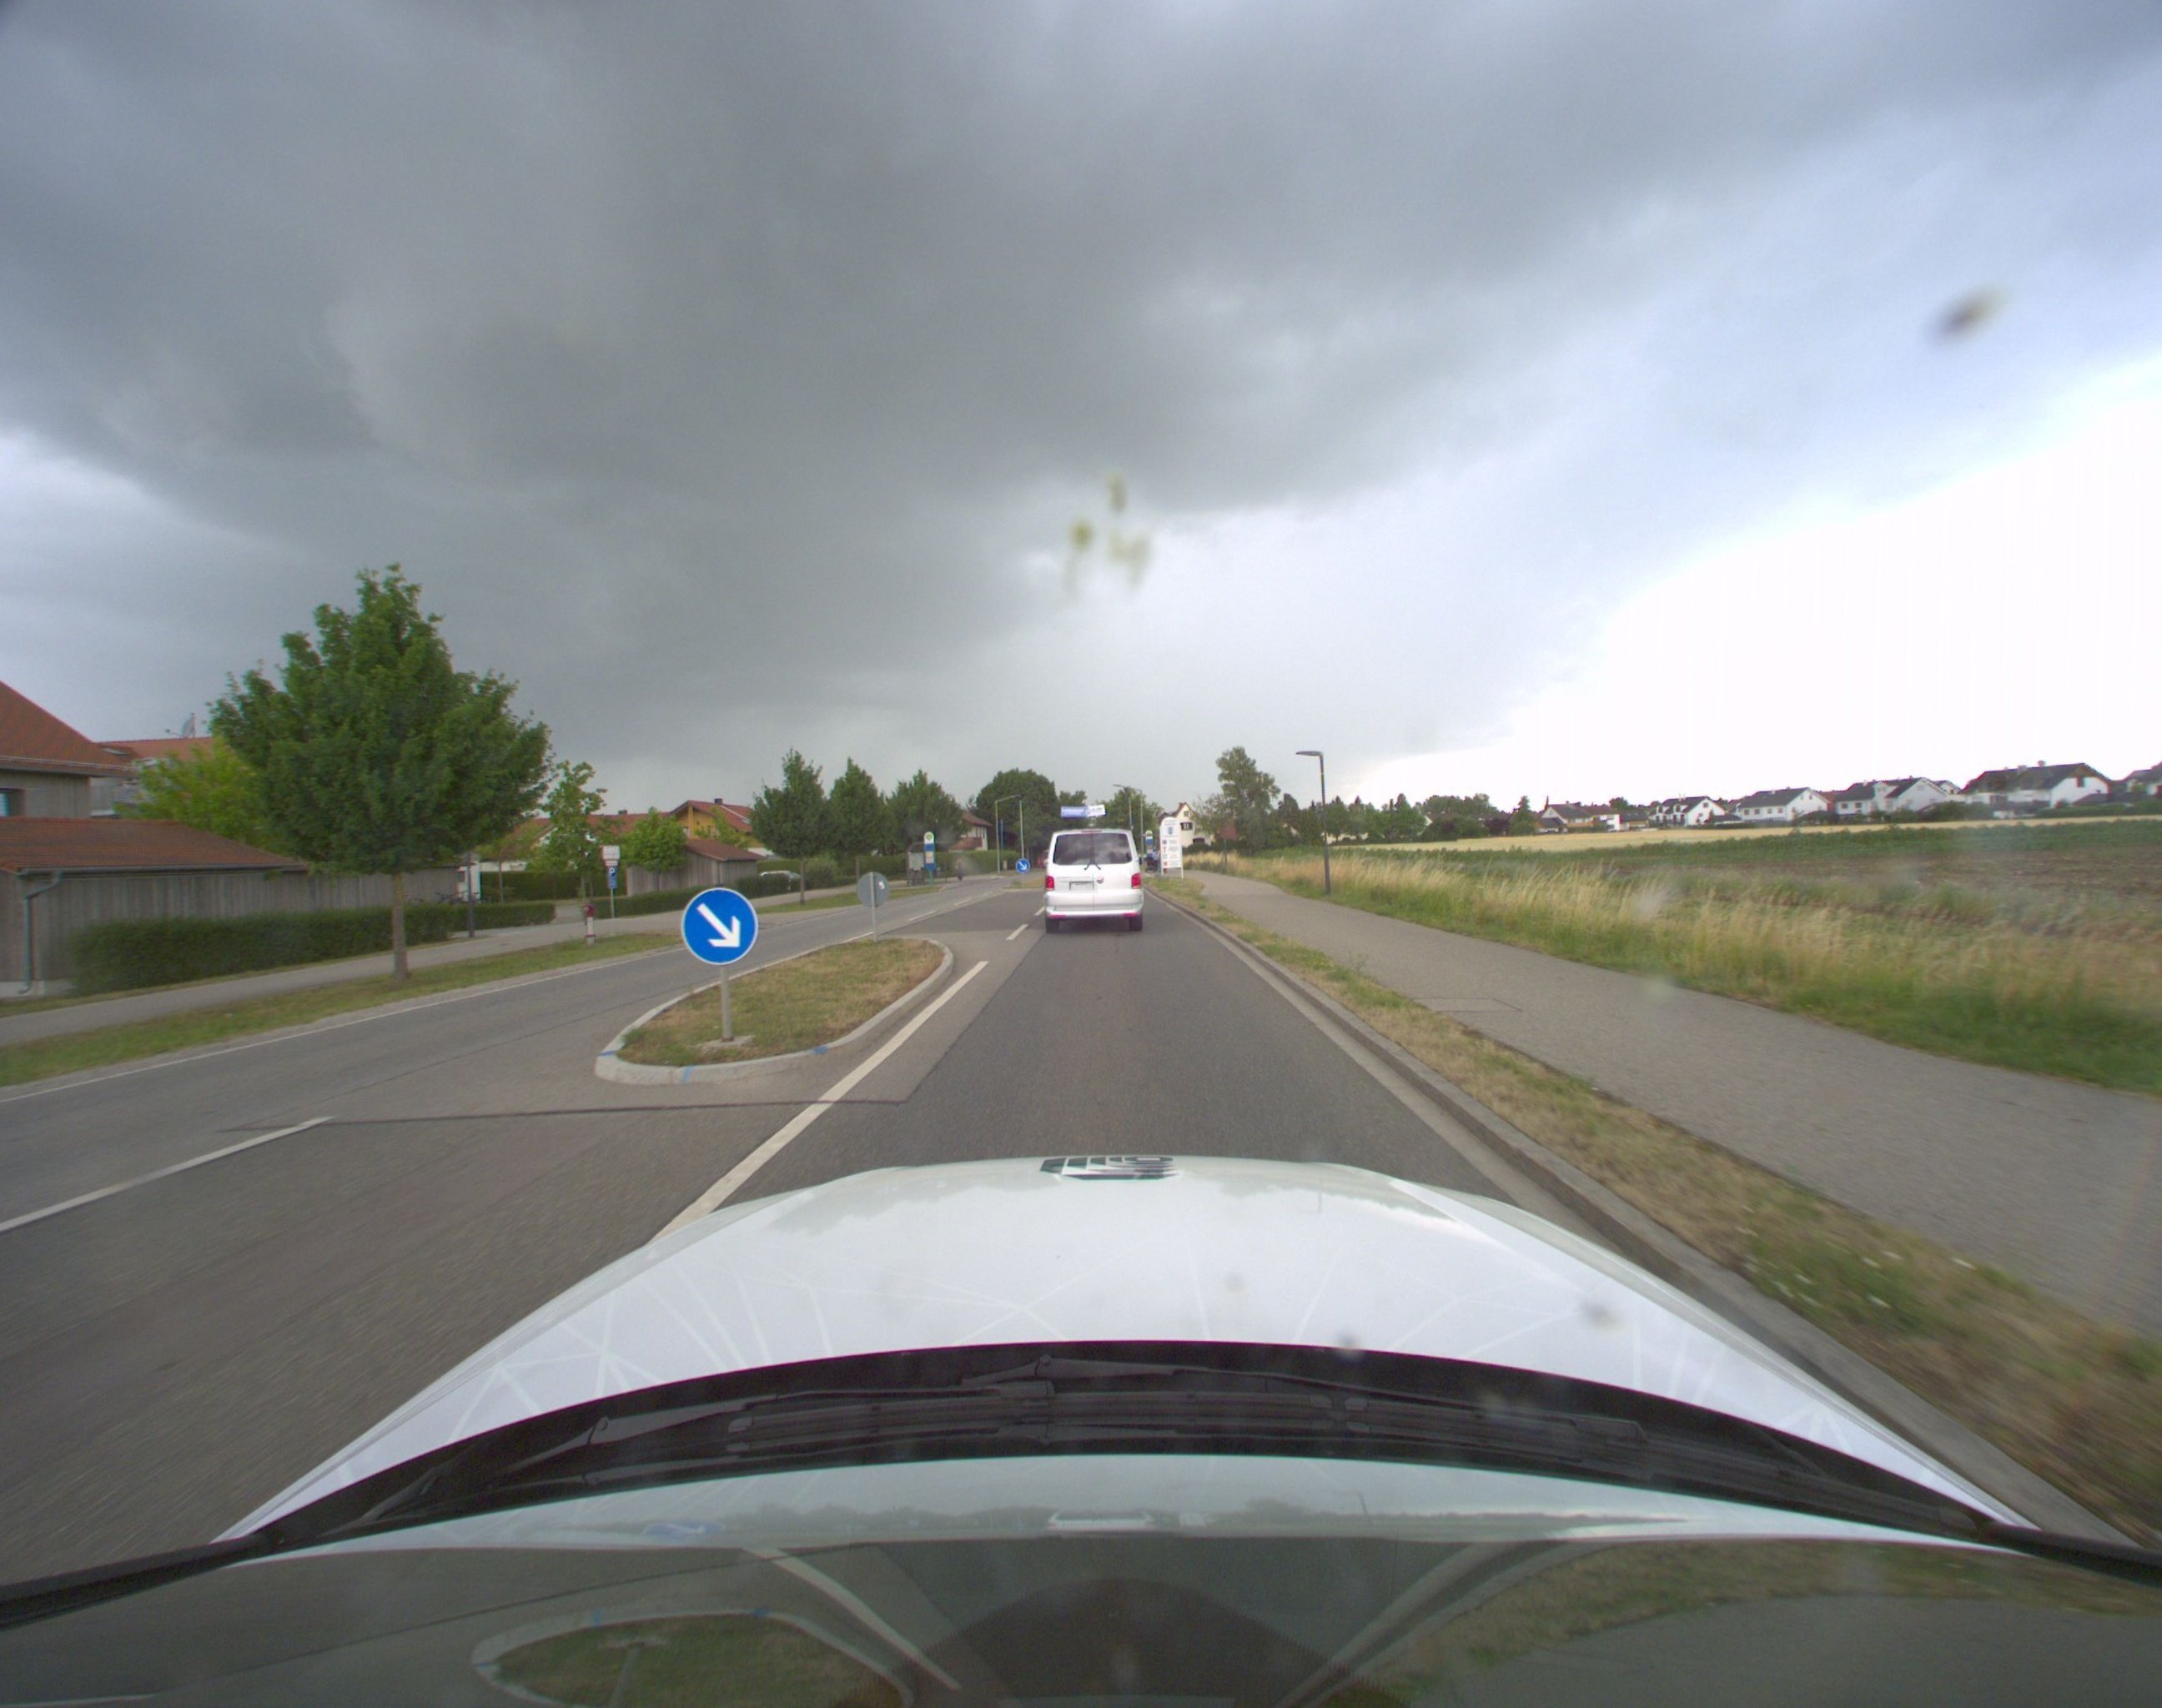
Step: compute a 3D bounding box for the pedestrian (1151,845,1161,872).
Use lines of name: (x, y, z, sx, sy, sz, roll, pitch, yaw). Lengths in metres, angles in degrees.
pedestrian: (4.991, 0.308, 54.203, 0.483, 1.732, 0.642, -4, 0, 1)

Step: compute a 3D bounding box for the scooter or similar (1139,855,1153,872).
scooter or similar: (4.326, 0.635, 54.372, 0.845, 1.103, 1.095, -4, 0, 2)

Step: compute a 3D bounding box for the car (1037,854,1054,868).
car: (-4.102, 0.782, 95.808, 1.648, 1.429, 3.603, -4, 0, 1)

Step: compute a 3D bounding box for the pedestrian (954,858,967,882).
pedestrian: (-7.822, 1.036, 52.998, 0.621, 1.524, 0.680, -4, 0, 1)

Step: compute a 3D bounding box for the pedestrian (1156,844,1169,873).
pedestrian: (4.997, 0.289, 49.776, 0.636, 1.732, 0.488, -4, 0, 13)

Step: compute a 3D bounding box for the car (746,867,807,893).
car: (-21.427, 1.832, 57.472, 3.581, 1.529, 1.658, -4, 0, -2)

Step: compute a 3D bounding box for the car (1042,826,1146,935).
car: (0.242, 0.467, 16.631, 1.819, 1.913, 4.000, -2, 0, 0)
